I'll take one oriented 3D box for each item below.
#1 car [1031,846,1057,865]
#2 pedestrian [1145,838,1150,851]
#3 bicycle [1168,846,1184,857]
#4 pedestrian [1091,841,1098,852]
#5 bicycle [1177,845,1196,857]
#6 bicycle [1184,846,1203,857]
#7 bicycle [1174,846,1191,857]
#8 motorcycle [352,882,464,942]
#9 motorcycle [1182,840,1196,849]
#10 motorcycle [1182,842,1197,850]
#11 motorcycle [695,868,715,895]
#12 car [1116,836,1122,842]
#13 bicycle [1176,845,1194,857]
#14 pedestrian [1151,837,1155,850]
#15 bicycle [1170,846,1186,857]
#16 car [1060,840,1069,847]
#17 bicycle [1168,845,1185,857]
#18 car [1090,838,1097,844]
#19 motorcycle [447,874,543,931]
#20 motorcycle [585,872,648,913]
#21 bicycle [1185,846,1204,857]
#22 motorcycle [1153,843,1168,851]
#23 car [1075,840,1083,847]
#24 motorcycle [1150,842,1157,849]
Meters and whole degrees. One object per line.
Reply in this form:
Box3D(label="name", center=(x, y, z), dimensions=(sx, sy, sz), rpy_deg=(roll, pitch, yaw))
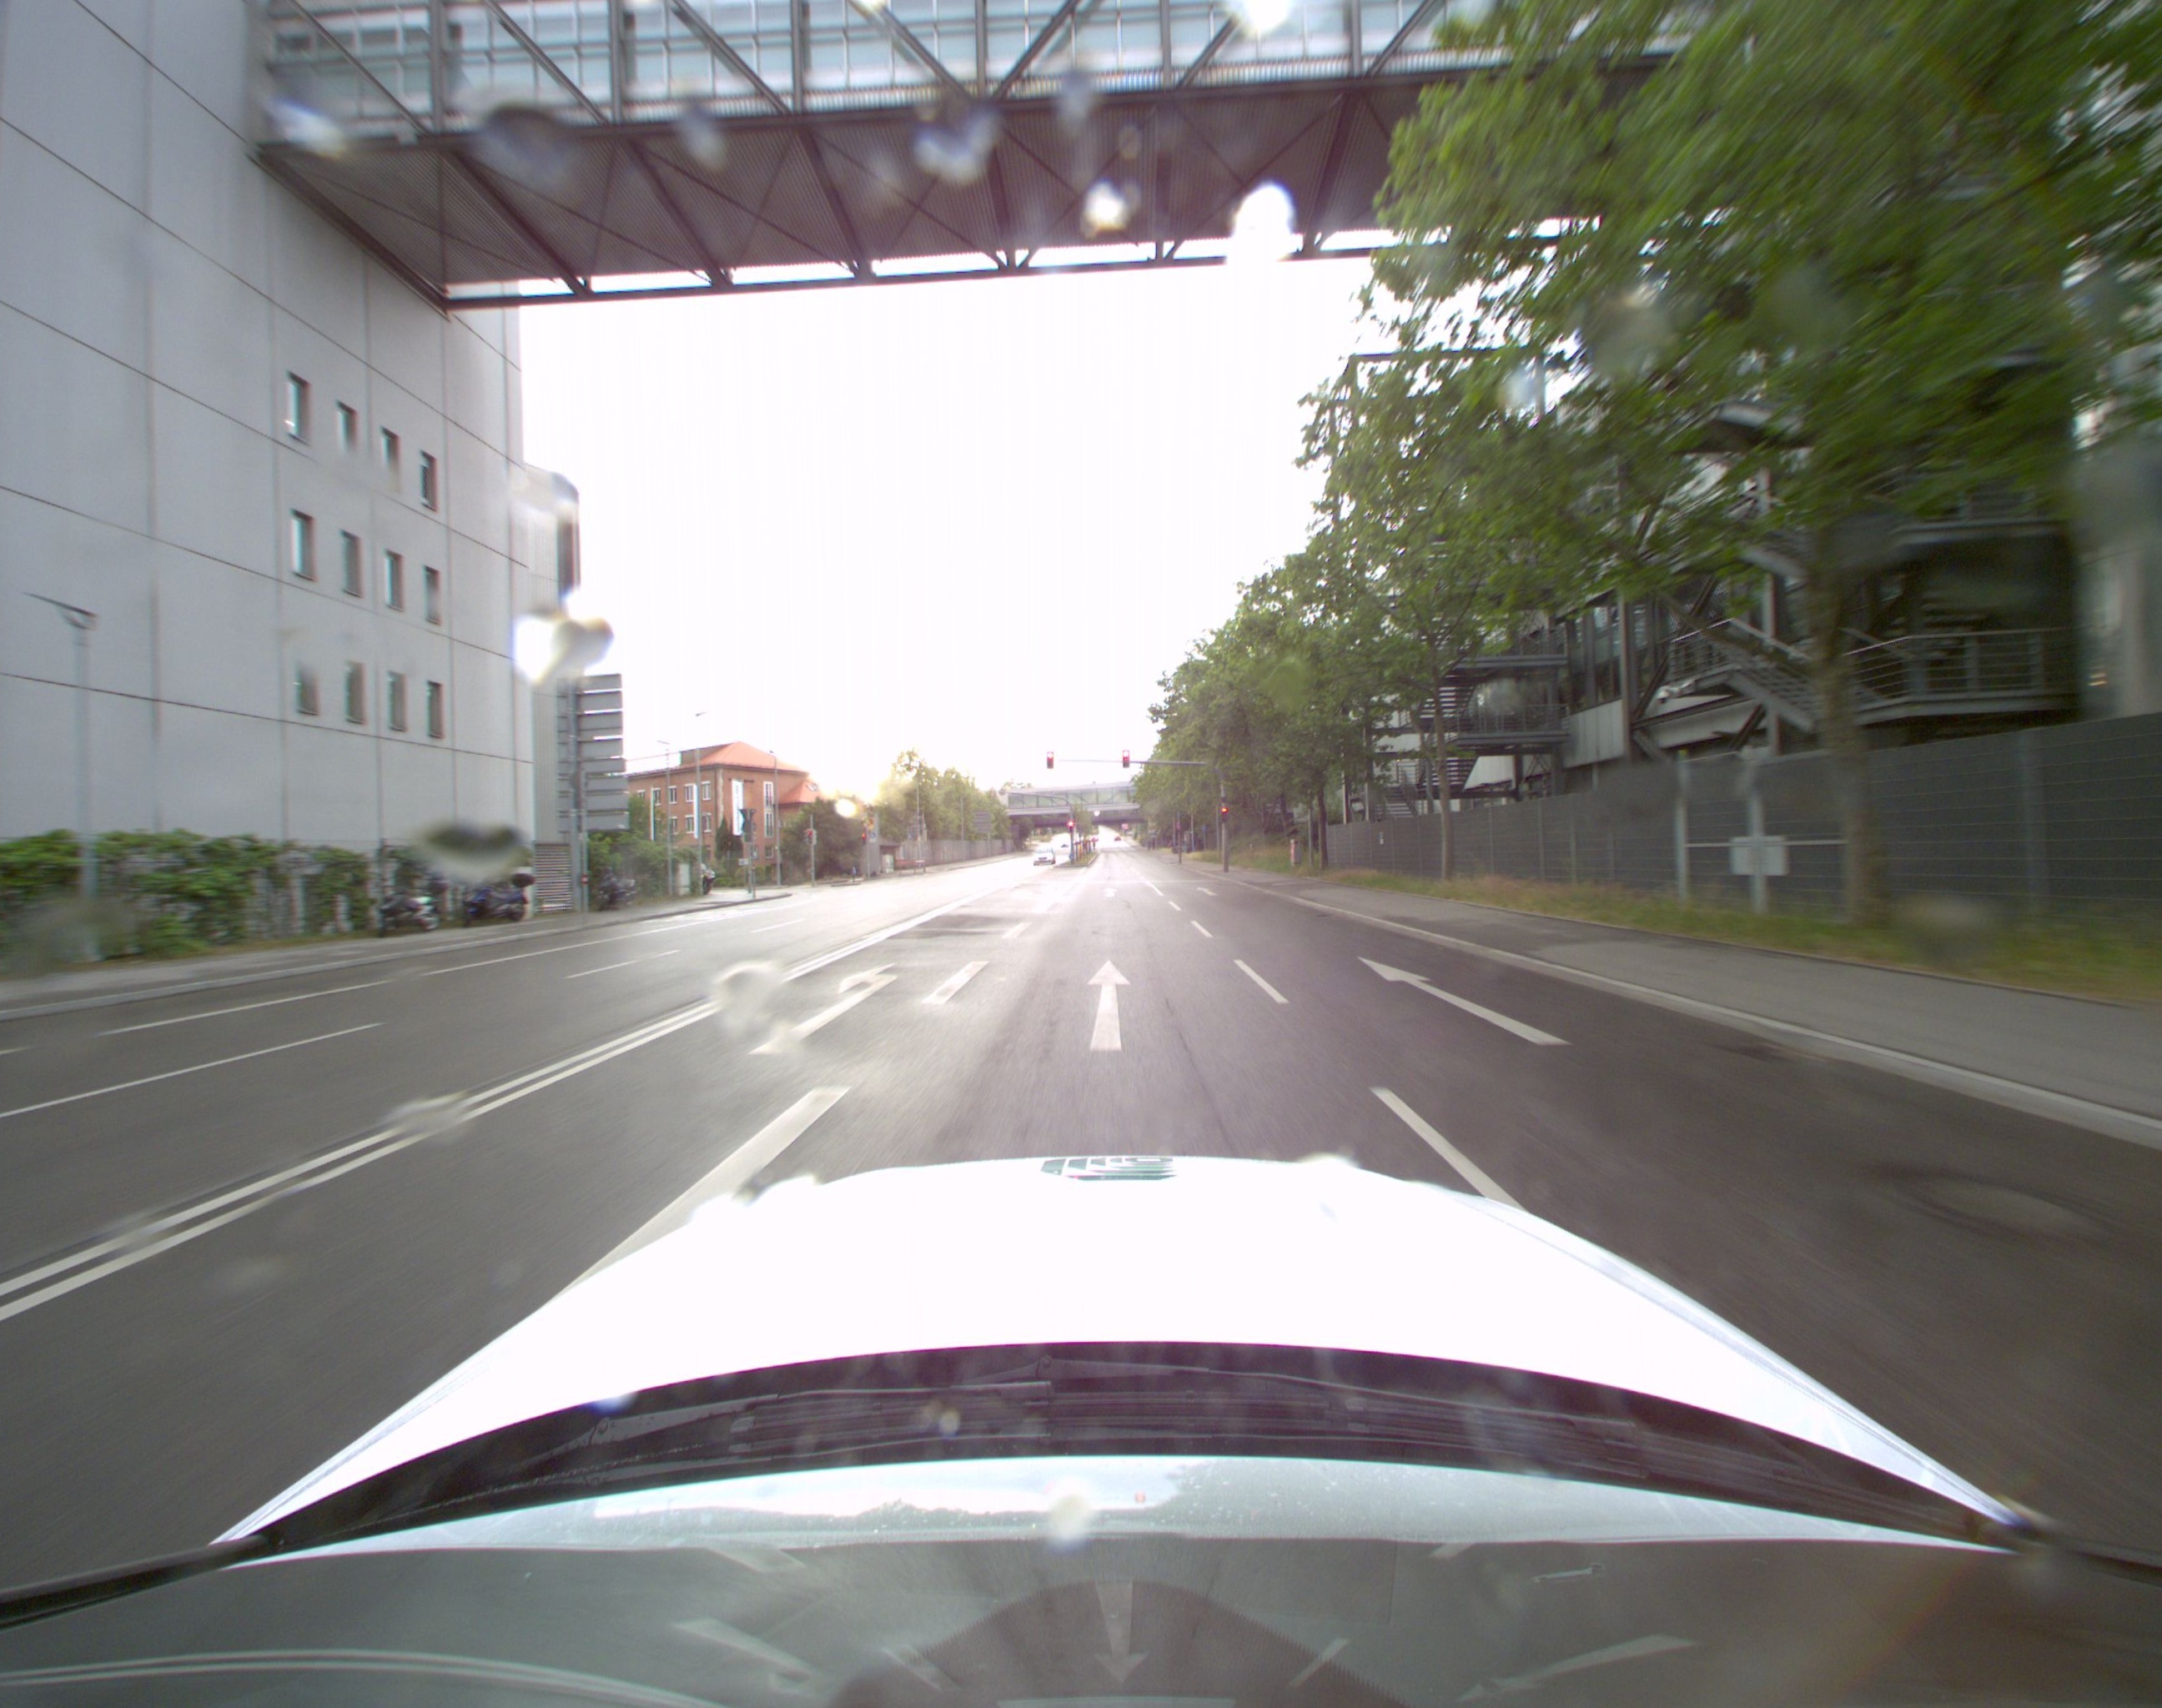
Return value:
Box3D(label="car", center=(-3.250, 0.101, 72.551), dimensions=(1.870, 1.624, 3.781), rpy_deg=(-2, 0, 3))
Box3D(label="pedestrian", center=(10.414, -1.544, 127.495), dimensions=(0.619, 2.013, 0.606), rpy_deg=(-3, 0, 2))
Box3D(label="bicycle", center=(11.905, -0.274, 102.486), dimensions=(1.952, 1.328, 0.576), rpy_deg=(0, -1, 3))
Box3D(label="pedestrian", center=(2.587, -1.461, 153.713), dimensions=(0.863, 2.004, 0.860), rpy_deg=(-3, 0, 40))
Box3D(label="bicycle", center=(11.363, -0.335, 88.011), dimensions=(1.982, 1.216, 0.541), rpy_deg=(0, -1, 3))
Box3D(label="bicycle", center=(11.977, -0.283, 86.527), dimensions=(1.982, 1.094, 0.541), rpy_deg=(0, -1, 3))
Box3D(label="bicycle", center=(11.572, -0.308, 92.968), dimensions=(1.982, 1.242, 0.541), rpy_deg=(0, -1, 3))
Box3D(label="motorcycle", center=(-15.910, 1.337, 19.341), dimensions=(0.782, 1.250, 2.158), rpy_deg=(-2, 0, 1))
Box3D(label="motorcycle", center=(18.408, -1.665, 138.961), dimensions=(2.354, 1.476, 0.724), rpy_deg=(-3, 0, 10))
Box3D(label="motorcycle", center=(17.689, -1.351, 132.987), dimensions=(2.354, 1.202, 0.724), rpy_deg=(-3, 0, 10))
Box3D(label="motorcycle", center=(-17.953, 1.275, 38.870), dimensions=(0.774, 1.218, 2.487), rpy_deg=(-2, 0, -27))
Box3D(label="car", center=(10.975, -4.270, 235.369), dimensions=(1.867, 1.497, 4.071), rpy_deg=(0, 0, 3))
Box3D(label="bicycle", center=(11.528, -0.325, 90.197), dimensions=(1.982, 1.233, 0.541), rpy_deg=(0, -1, 3))
Box3D(label="pedestrian", center=(11.208, -1.573, 126.977), dimensions=(0.619, 2.013, 0.606), rpy_deg=(-3, 0, 2))
Box3D(label="bicycle", center=(12.003, -0.289, 100.531), dimensions=(1.982, 1.328, 0.576), rpy_deg=(0, -1, 3))
Box3D(label="car", center=(-3.870, -2.541, 194.963), dimensions=(1.870, 1.624, 3.781), rpy_deg=(-2, 0, 3))
Box3D(label="bicycle", center=(11.664, -0.348, 99.689), dimensions=(1.982, 1.430, 0.723), rpy_deg=(0, -1, 3))
Box3D(label="car", center=(3.634, -3.775, 239.474), dimensions=(1.985, 1.762, 4.003), rpy_deg=(0, -1, 3))
Box3D(label="motorcycle", center=(-15.668, 1.252, 21.867), dimensions=(0.782, 1.347, 2.371), rpy_deg=(-2, 0, 1))
Box3D(label="motorcycle", center=(-15.577, 1.256, 27.373), dimensions=(0.782, 1.247, 2.158), rpy_deg=(-2, 0, 1))
Box3D(label="bicycle", center=(11.950, -0.287, 85.958), dimensions=(1.982, 1.094, 0.541), rpy_deg=(0, -1, 3))
Box3D(label="motorcycle", center=(13.088, -1.196, 133.669), dimensions=(2.354, 1.202, 0.724), rpy_deg=(-3, 0, 10))
Box3D(label="car", center=(-0.565, -2.772, 217.731), dimensions=(1.870, 1.624, 3.781), rpy_deg=(-2, 0, 3))
Box3D(label="motorcycle", center=(13.508, -1.620, 152.567), dimensions=(0.789, 1.311, 2.371), rpy_deg=(-3, 0, -6))
